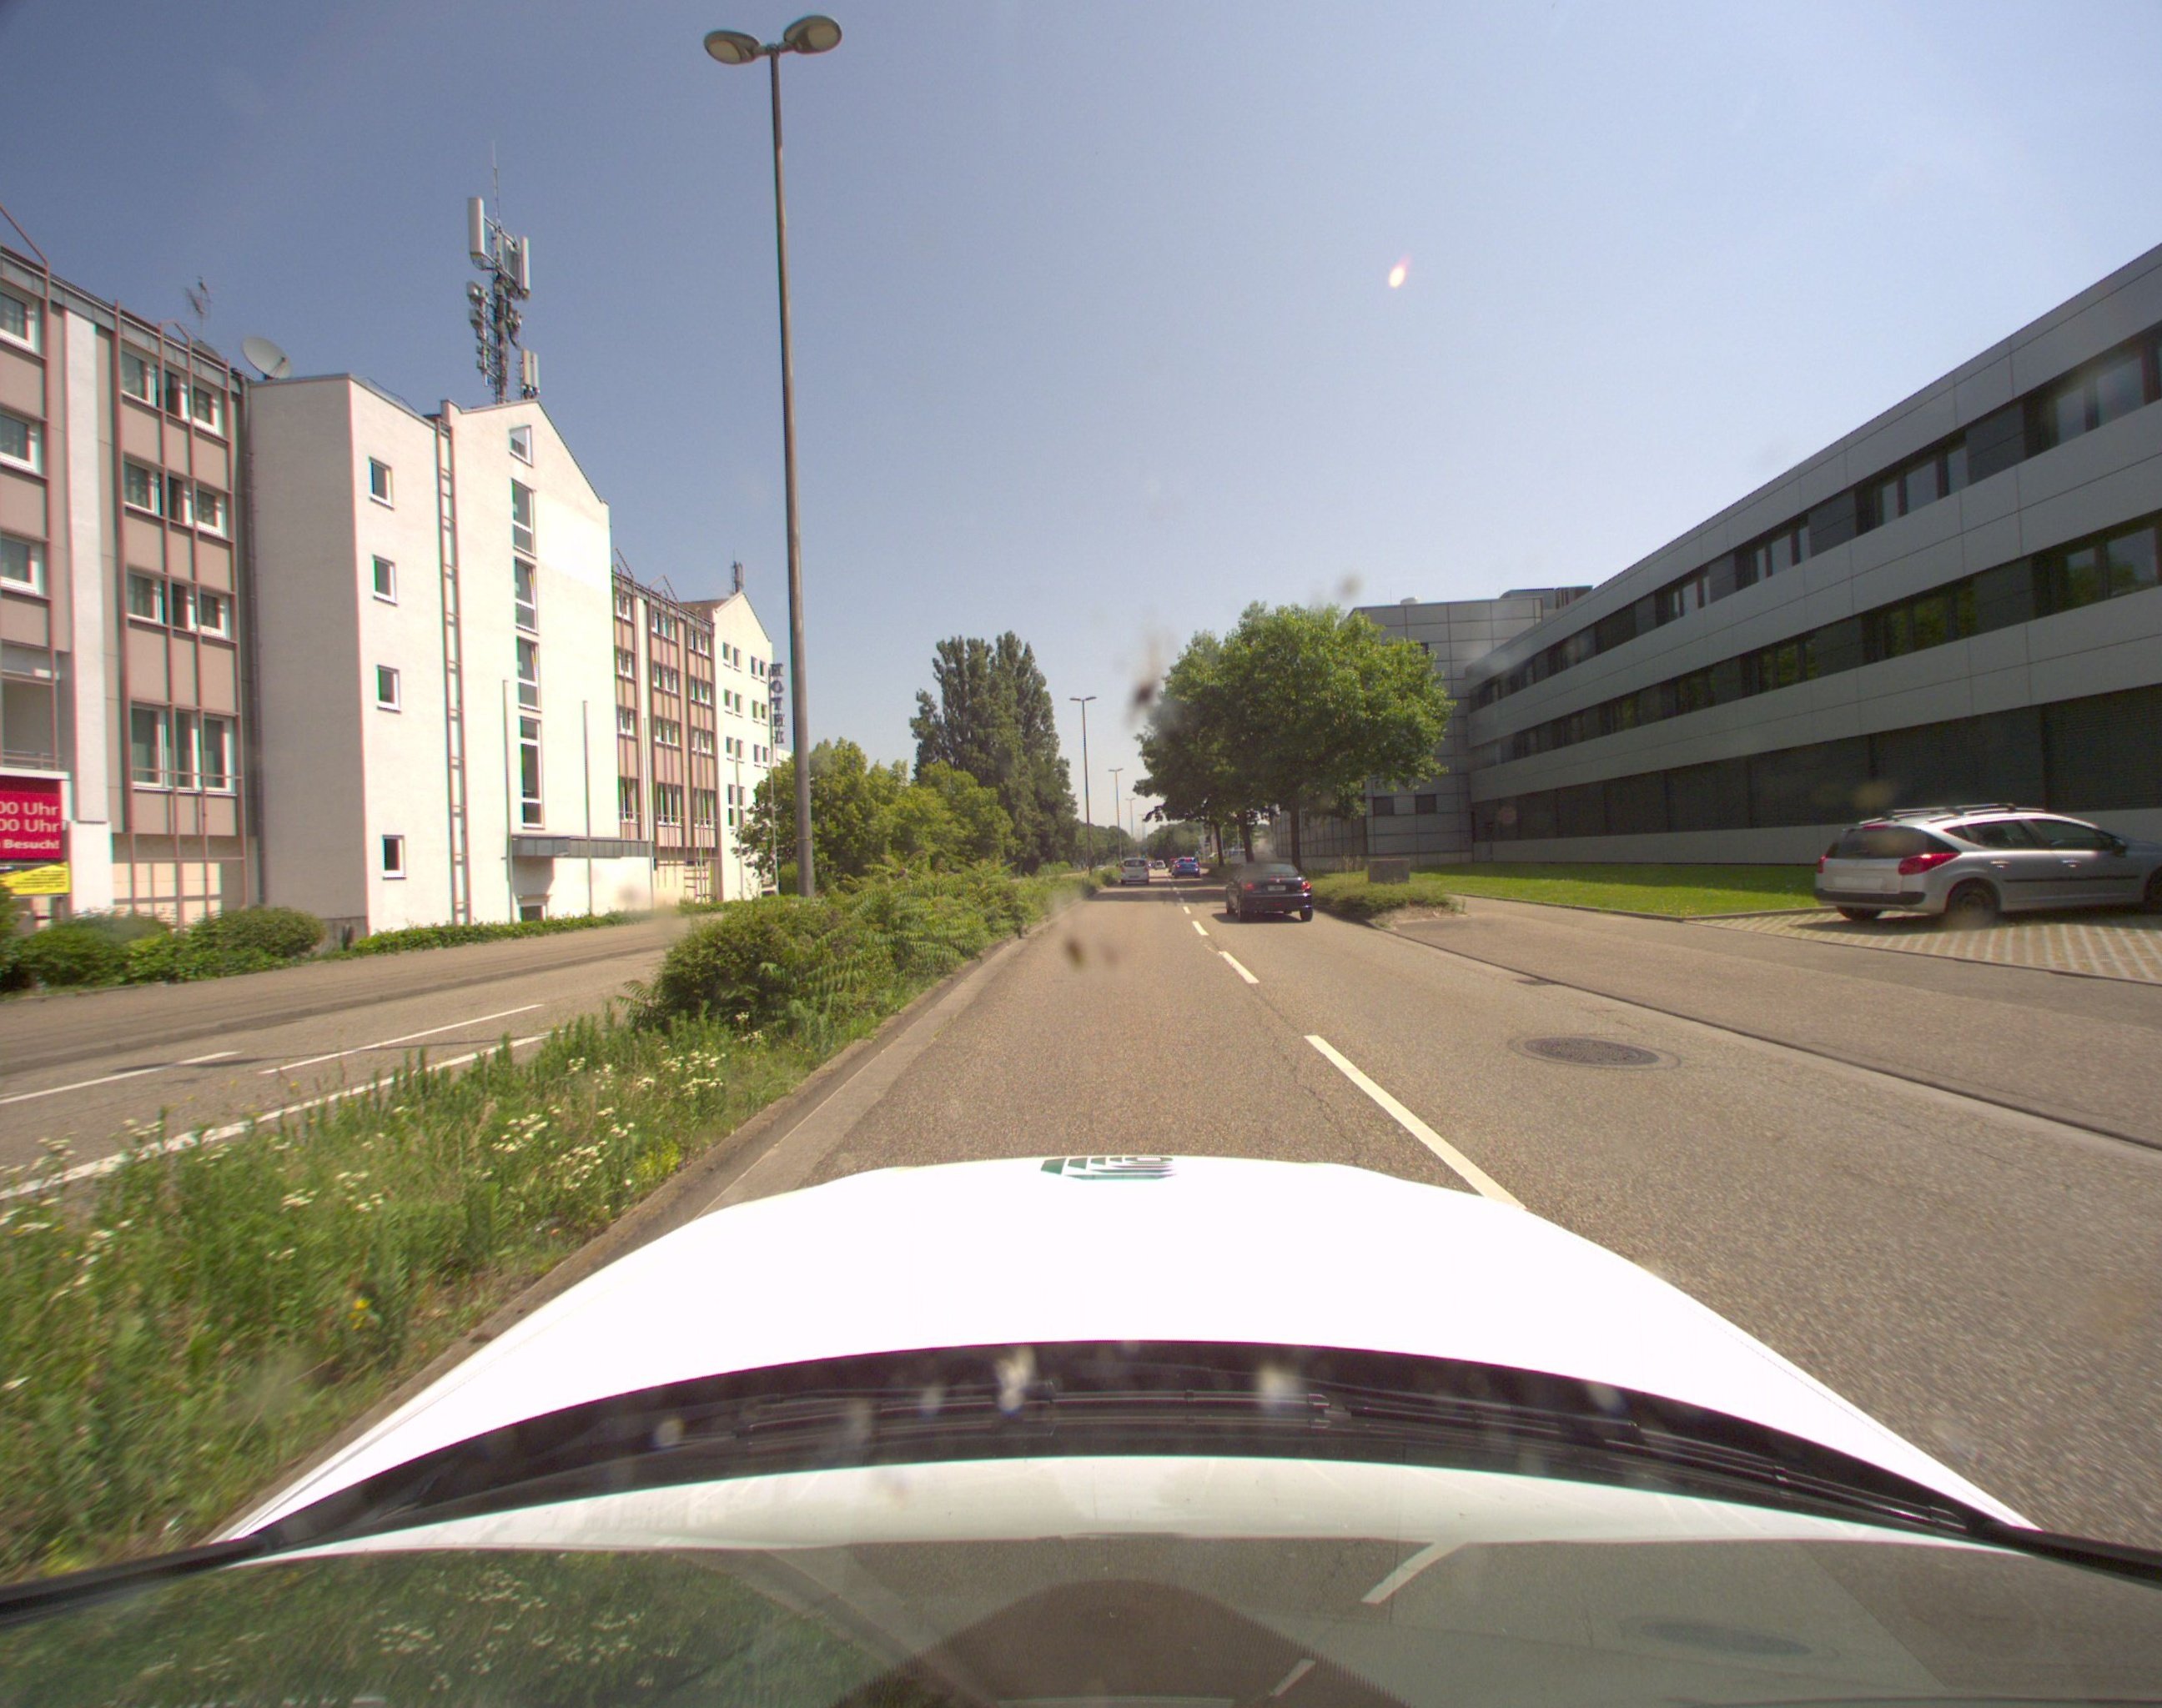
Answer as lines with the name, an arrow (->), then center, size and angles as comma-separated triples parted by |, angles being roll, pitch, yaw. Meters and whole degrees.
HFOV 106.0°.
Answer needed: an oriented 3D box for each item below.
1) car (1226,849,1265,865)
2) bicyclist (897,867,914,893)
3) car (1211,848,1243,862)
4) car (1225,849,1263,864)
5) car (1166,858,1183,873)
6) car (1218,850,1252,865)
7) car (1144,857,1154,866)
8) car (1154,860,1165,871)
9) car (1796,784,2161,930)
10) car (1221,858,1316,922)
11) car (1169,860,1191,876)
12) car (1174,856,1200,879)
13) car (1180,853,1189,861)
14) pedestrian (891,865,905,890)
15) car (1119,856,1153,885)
car -> 20.235, 0.380, 100.310 | 4.478, 1.583, 2.002 | -4, -1, 4
bicyclist -> -10.544, 1.558, 48.877 | 0.714, 1.516, 1.027 | -3, -1, 2
car -> 20.764, 0.184, 115.669 | 4.207, 1.647, 2.002 | -4, -1, 4
car -> 19.165, 0.277, 95.799 | 3.972, 1.618, 2.001 | -3, -1, 1
car -> 12.205, 1.499, 106.449 | 1.769, 1.740, 4.002 | -3, -1, 2
car -> 20.626, 0.464, 109.298 | 4.207, 1.647, 2.002 | -4, -1, 4
car -> 14.439, 1.612, 172.599 | 1.813, 1.662, 4.001 | -3, 0, 1
car -> 13.669, 2.009, 141.775 | 1.811, 1.662, 4.005 | -3, -1, 4
car -> 12.707, 0.026, 11.367 | 3.799, 1.592, 1.732 | -5, -1, 0
car -> 4.388, 0.787, 19.563 | 1.620, 1.364, 3.608 | -1, 0, 3
car -> 9.704, 1.413, 79.984 | 1.984, 1.442, 4.005 | -3, -1, 5
car -> 8.043, 1.032, 61.508 | 1.817, 1.580, 3.613 | -3, -1, 8
car -> 26.733, 0.820, 210.827 | 1.763, 2.013, 3.993 | -3, -1, 2
pedestrian -> -11.626, 1.508, 51.802 | 0.630, 1.545, 0.728 | -3, -1, 5
car -> 3.222, 0.924, 47.320 | 1.739, 1.520, 3.753 | -2, 0, 7
